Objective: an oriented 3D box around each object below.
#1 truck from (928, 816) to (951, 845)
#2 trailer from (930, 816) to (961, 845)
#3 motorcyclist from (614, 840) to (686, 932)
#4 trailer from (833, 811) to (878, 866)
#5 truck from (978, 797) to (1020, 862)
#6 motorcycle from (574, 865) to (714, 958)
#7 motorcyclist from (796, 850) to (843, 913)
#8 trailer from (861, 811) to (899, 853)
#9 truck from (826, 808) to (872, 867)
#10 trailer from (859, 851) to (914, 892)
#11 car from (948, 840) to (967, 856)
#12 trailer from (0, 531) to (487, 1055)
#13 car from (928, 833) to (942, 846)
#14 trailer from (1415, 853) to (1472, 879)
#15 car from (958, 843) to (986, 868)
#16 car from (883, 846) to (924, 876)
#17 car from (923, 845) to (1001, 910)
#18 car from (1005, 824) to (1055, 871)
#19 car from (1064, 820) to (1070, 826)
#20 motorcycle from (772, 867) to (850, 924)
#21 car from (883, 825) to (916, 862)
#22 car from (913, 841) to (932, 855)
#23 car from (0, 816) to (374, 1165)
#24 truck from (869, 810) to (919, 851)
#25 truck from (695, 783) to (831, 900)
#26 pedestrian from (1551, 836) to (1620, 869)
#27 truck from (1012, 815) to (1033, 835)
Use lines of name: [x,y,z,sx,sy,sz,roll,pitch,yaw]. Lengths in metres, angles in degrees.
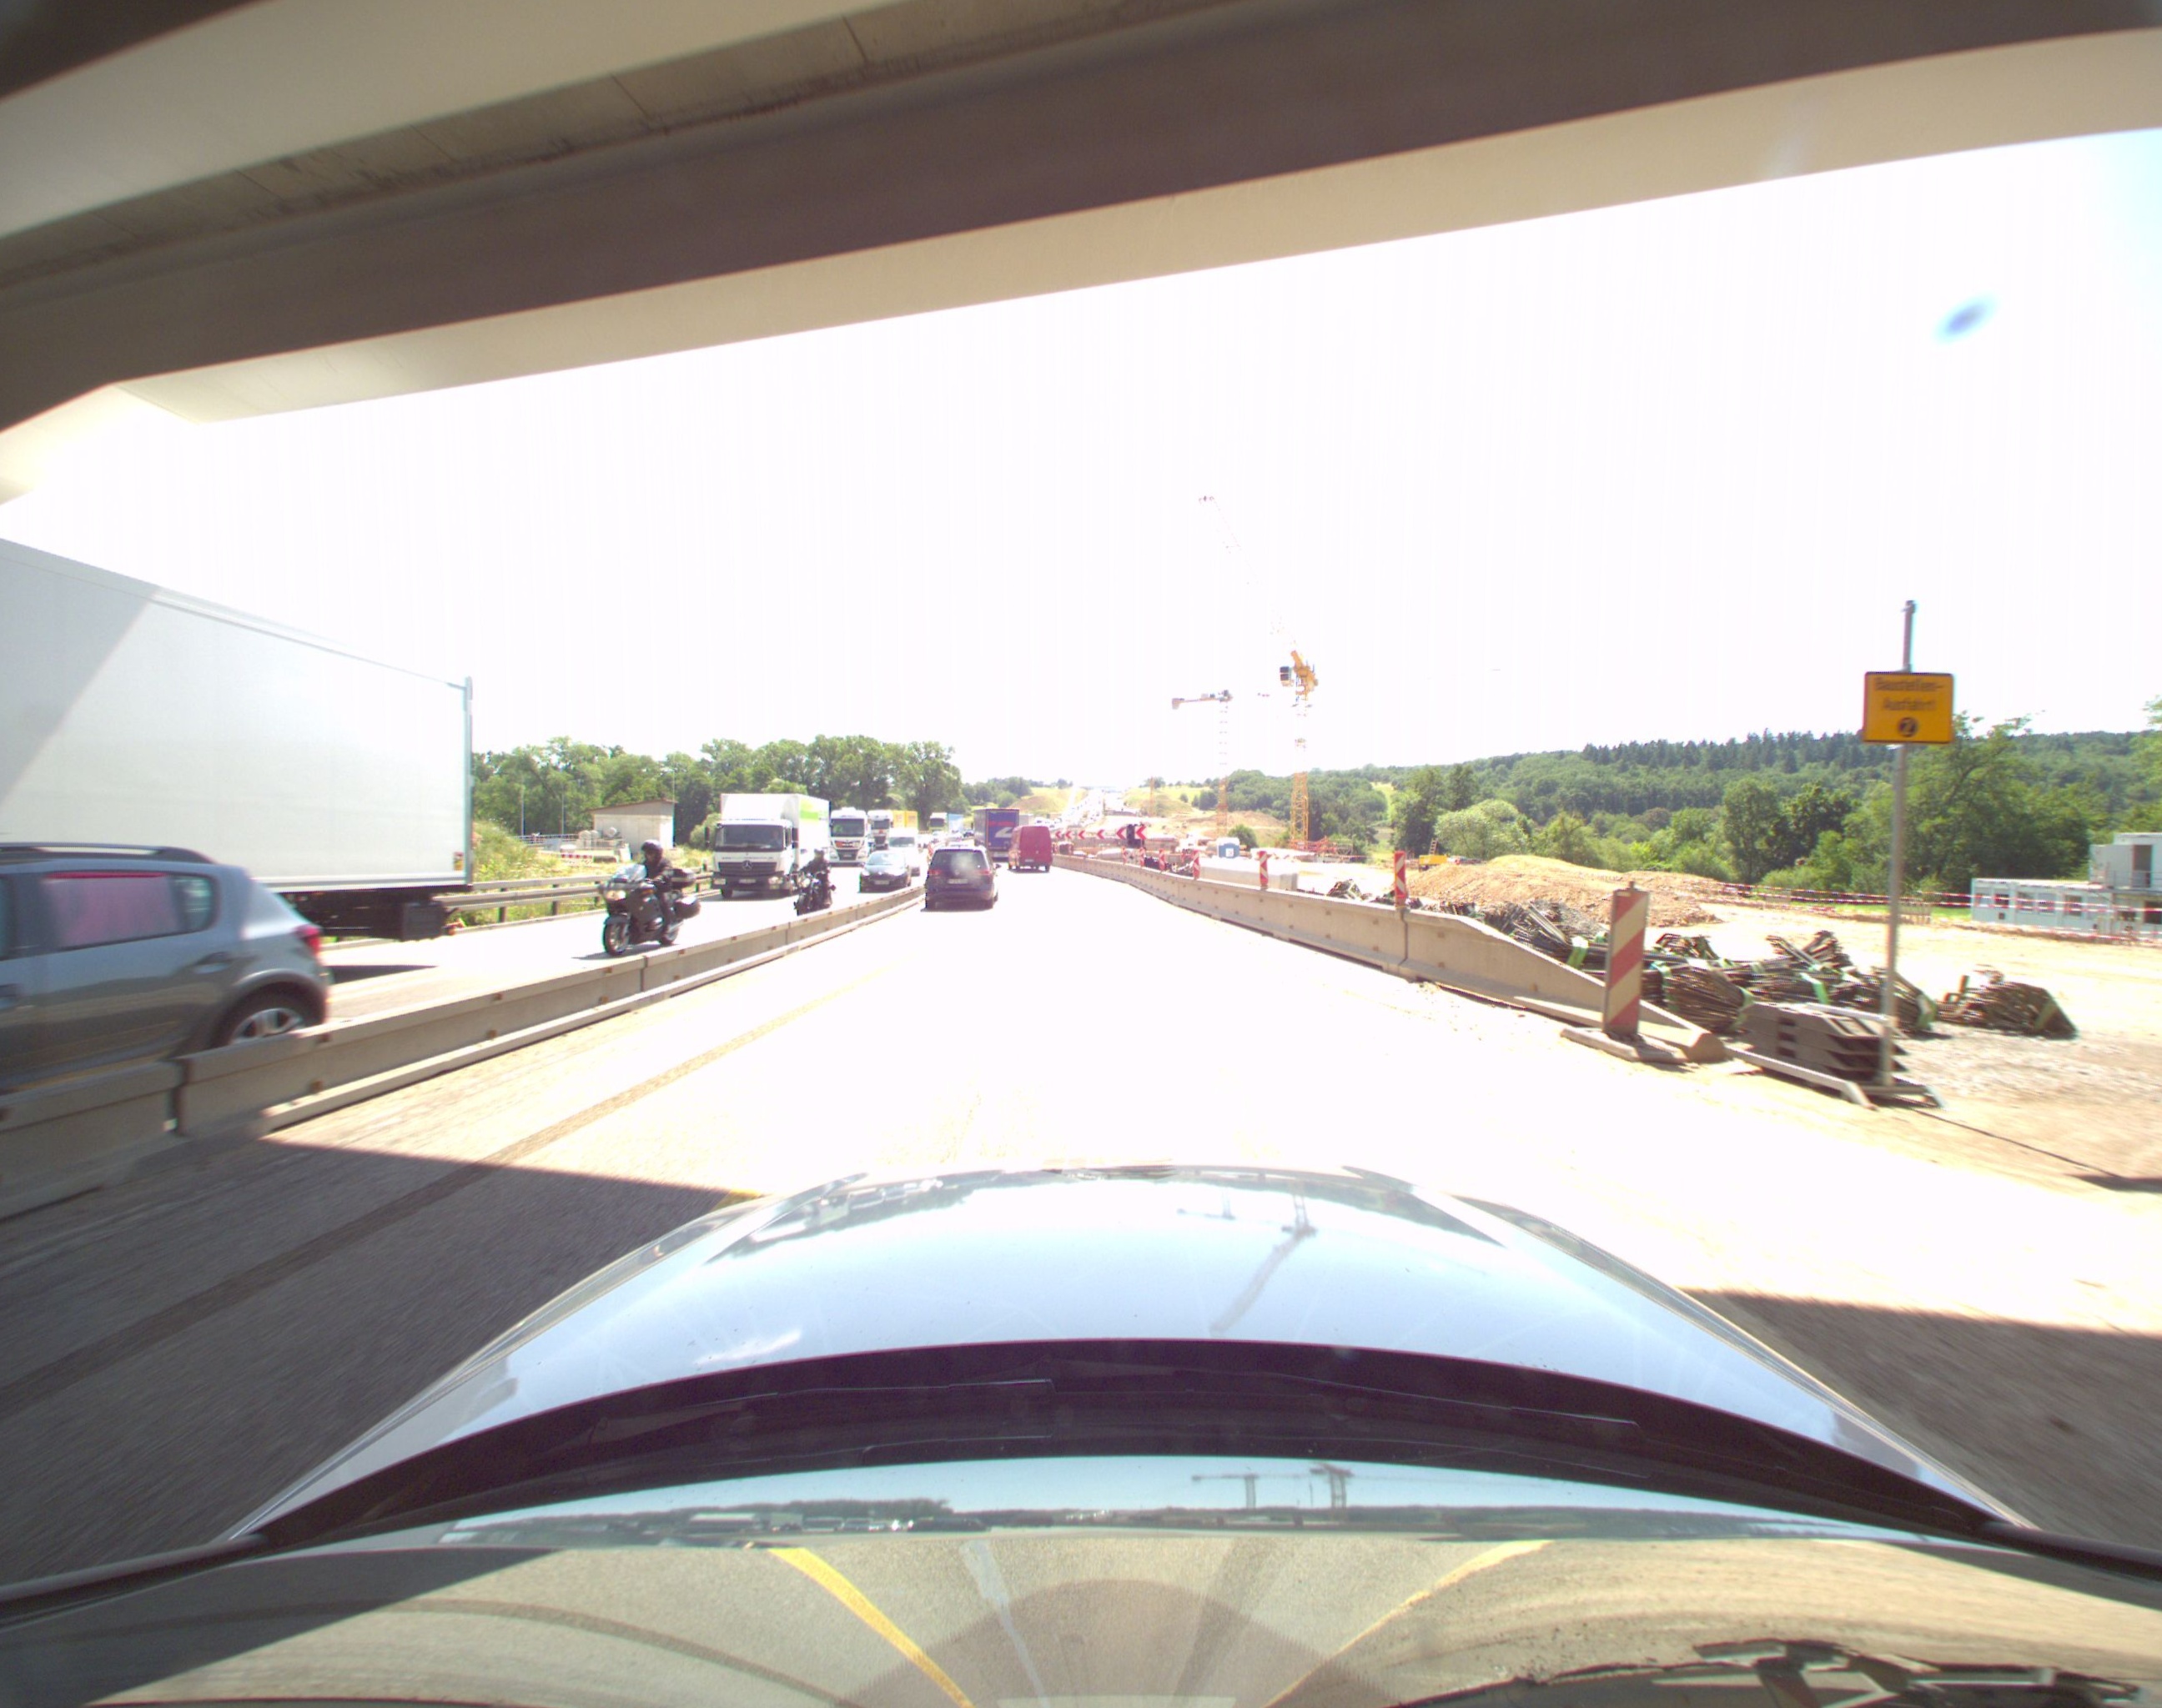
truck: [-20.996,-3.503,121.124,2.619,4.270,4.728,1,1,-3]
trailer: [-21.134,-3.661,127.910,2.639,4.292,13.305,1,1,-1]
motorcyclist: [-6.804,0.502,12.889,0.716,1.416,0.742,0,-2,-1]
trailer: [-17.012,-1.124,61.872,2.527,3.789,10.205,1,0,-11]
truck: [-6.627,-1.961,65.062,2.945,4.944,6.720,0,2,-10]
motorcycle: [-6.798,0.836,12.894,0.700,1.279,2.735,0,0,1]
motorcyclist: [-5.948,0.623,18.543,0.808,1.416,0.742,0,-2,-1]
trailer: [-20.829,-2.286,84.588,2.860,4.229,5.213,0,1,-4]
truck: [-15.756,-1.094,55.567,2.535,3.821,4.931,1,0,-11]
trailer: [-7.199,0.611,30.486,1.663,1.431,3.988,0,0,-8]
car: [-12.493,-0.623,82.377,1.832,1.635,4.095,0,1,-8]
trailer: [-9.764,-0.489,4.220,2.868,4.040,14.353,1,0,-1]
car: [-18.102,-1.832,101.005,1.636,1.485,3.988,0,3,-10]
trailer: [21.795,0.692,49.063,1.619,1.486,3.823,1,0,-2]
car: [-7.495,0.069,56.312,1.832,1.635,4.379,0,1,-7]
car: [-9.393,0.308,43.290,1.844,1.464,4.510,0,1,-9]
car: [-3.203,0.573,22.687,1.730,1.635,4.384,0,0,-3]
car: [-3.062,-0.365,47.854,2.151,2.611,5.416,0,0,-12]
car: [-4.169,-8.996,238.934,1.612,1.699,3.891,1,2,0]
motorcycle: [-5.947,0.874,18.142,0.830,1.150,2.789,0,-1,-1]
car: [-12.744,-0.686,57.494,2.072,2.503,6.458,0,0,-11]
car: [-16.985,-0.620,87.572,1.675,1.361,4.494,0,2,-6]
car: [-6.041,0.655,3.873,1.740,1.670,4.079,0,0,1]
truck: [-21.219,-2.691,93.424,2.800,4.341,15.364,0,1,-2]
truck: [-11.104,-0.412,29.402,2.816,3.575,8.471,0,0,-9]
pedestrian: [32.481,-0.060,52.591,1.987,2.014,3.999,0,-2,0]
truck: [-10.672,-5.263,149.075,3.173,2.977,8.898,0,-2,1]
